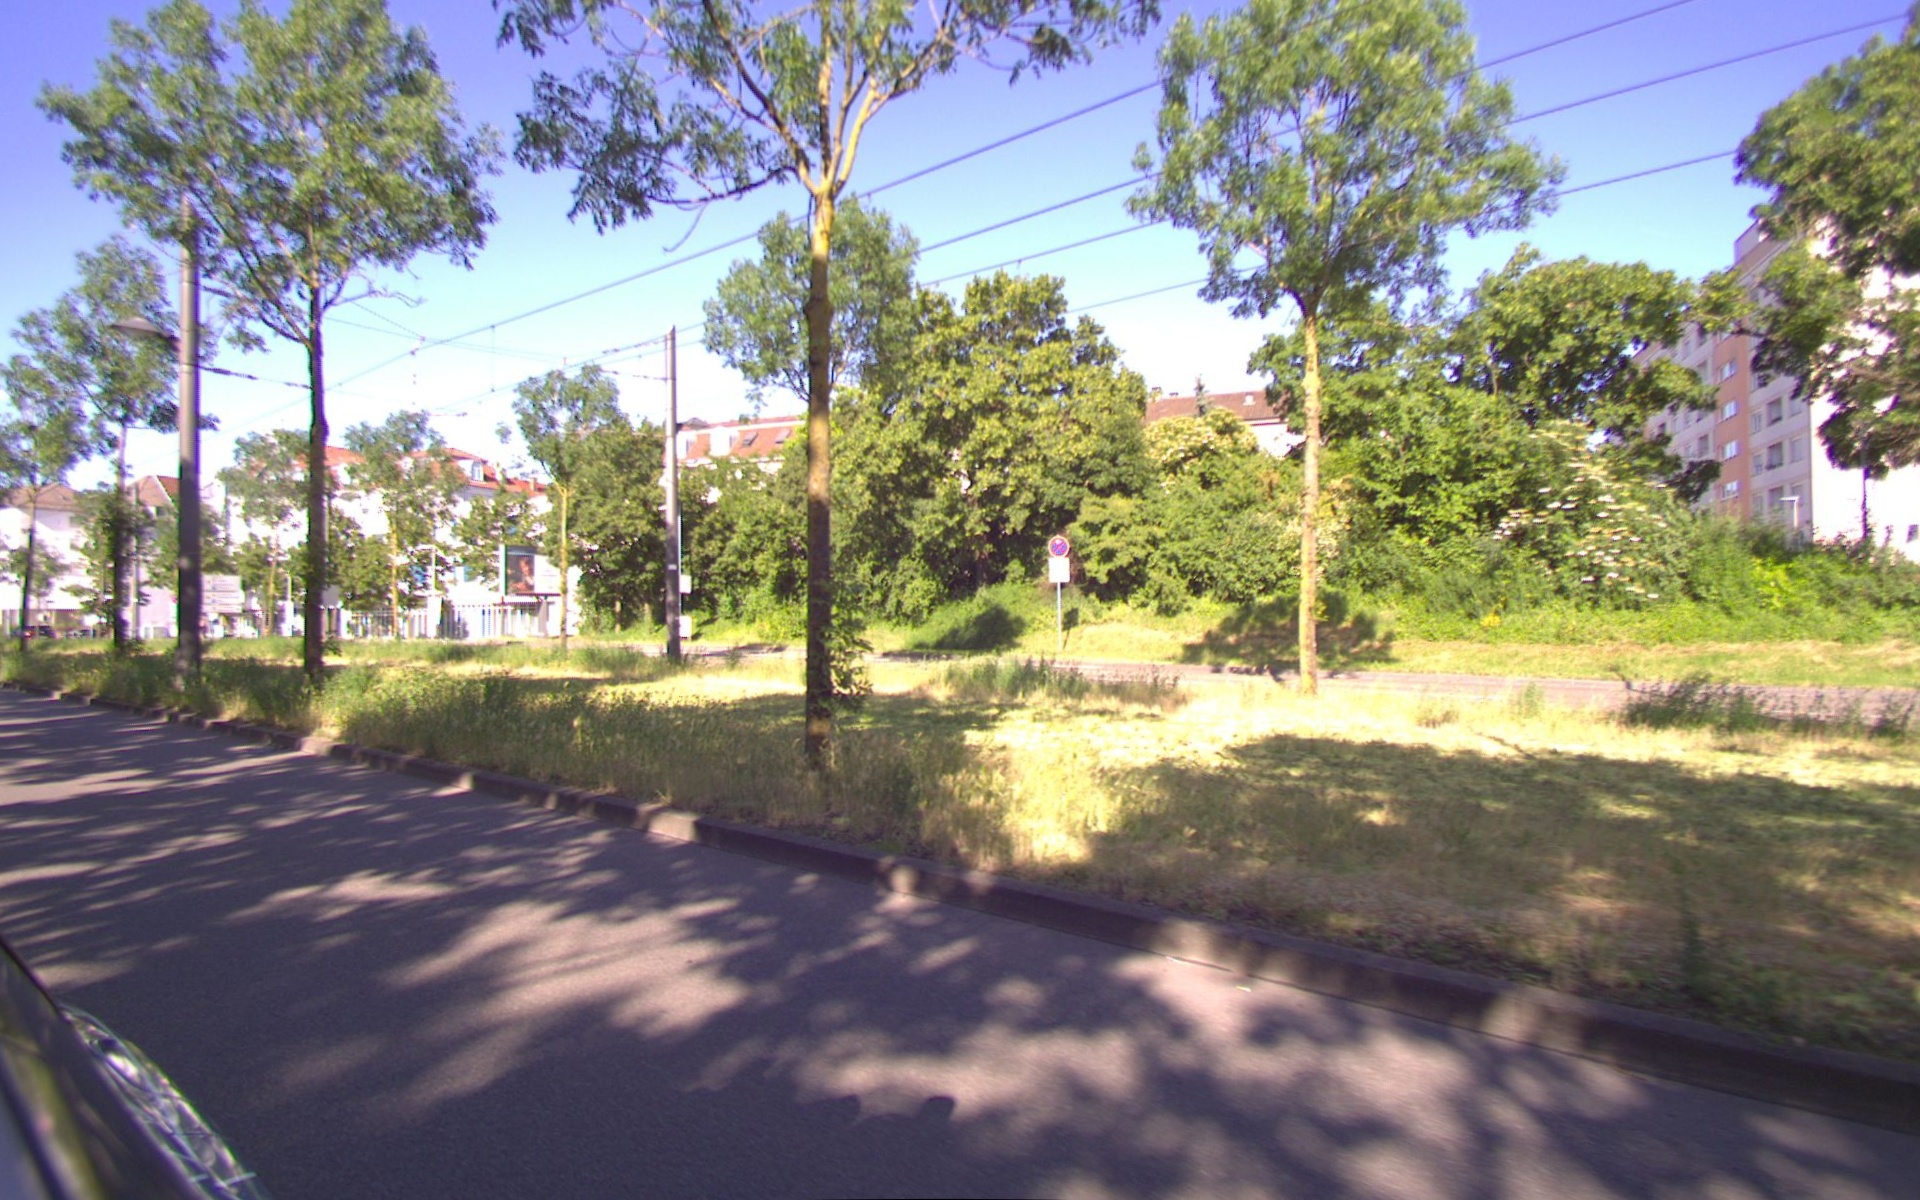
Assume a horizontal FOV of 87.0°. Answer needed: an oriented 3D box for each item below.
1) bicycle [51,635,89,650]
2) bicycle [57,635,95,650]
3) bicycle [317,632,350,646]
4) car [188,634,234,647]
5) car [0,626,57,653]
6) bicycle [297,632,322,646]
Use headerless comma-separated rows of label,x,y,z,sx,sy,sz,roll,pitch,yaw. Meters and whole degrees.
bicycle,-80.772,3.827,91.874,0.659,1.319,2.558,-2,-2,25
bicycle,-79.836,3.813,91.395,0.659,1.319,2.558,-2,-2,25
bicycle,-55.977,3.503,90.416,0.716,1.222,2.529,-2,-2,27
car,-85.668,4.631,115.802,1.690,1.320,4.062,-1,-2,20
car,-66.711,2.845,72.381,4.468,1.653,1.808,-5,-3,28
bicycle,-58.060,3.512,90.261,2.540,1.222,0.713,-2,-2,27
